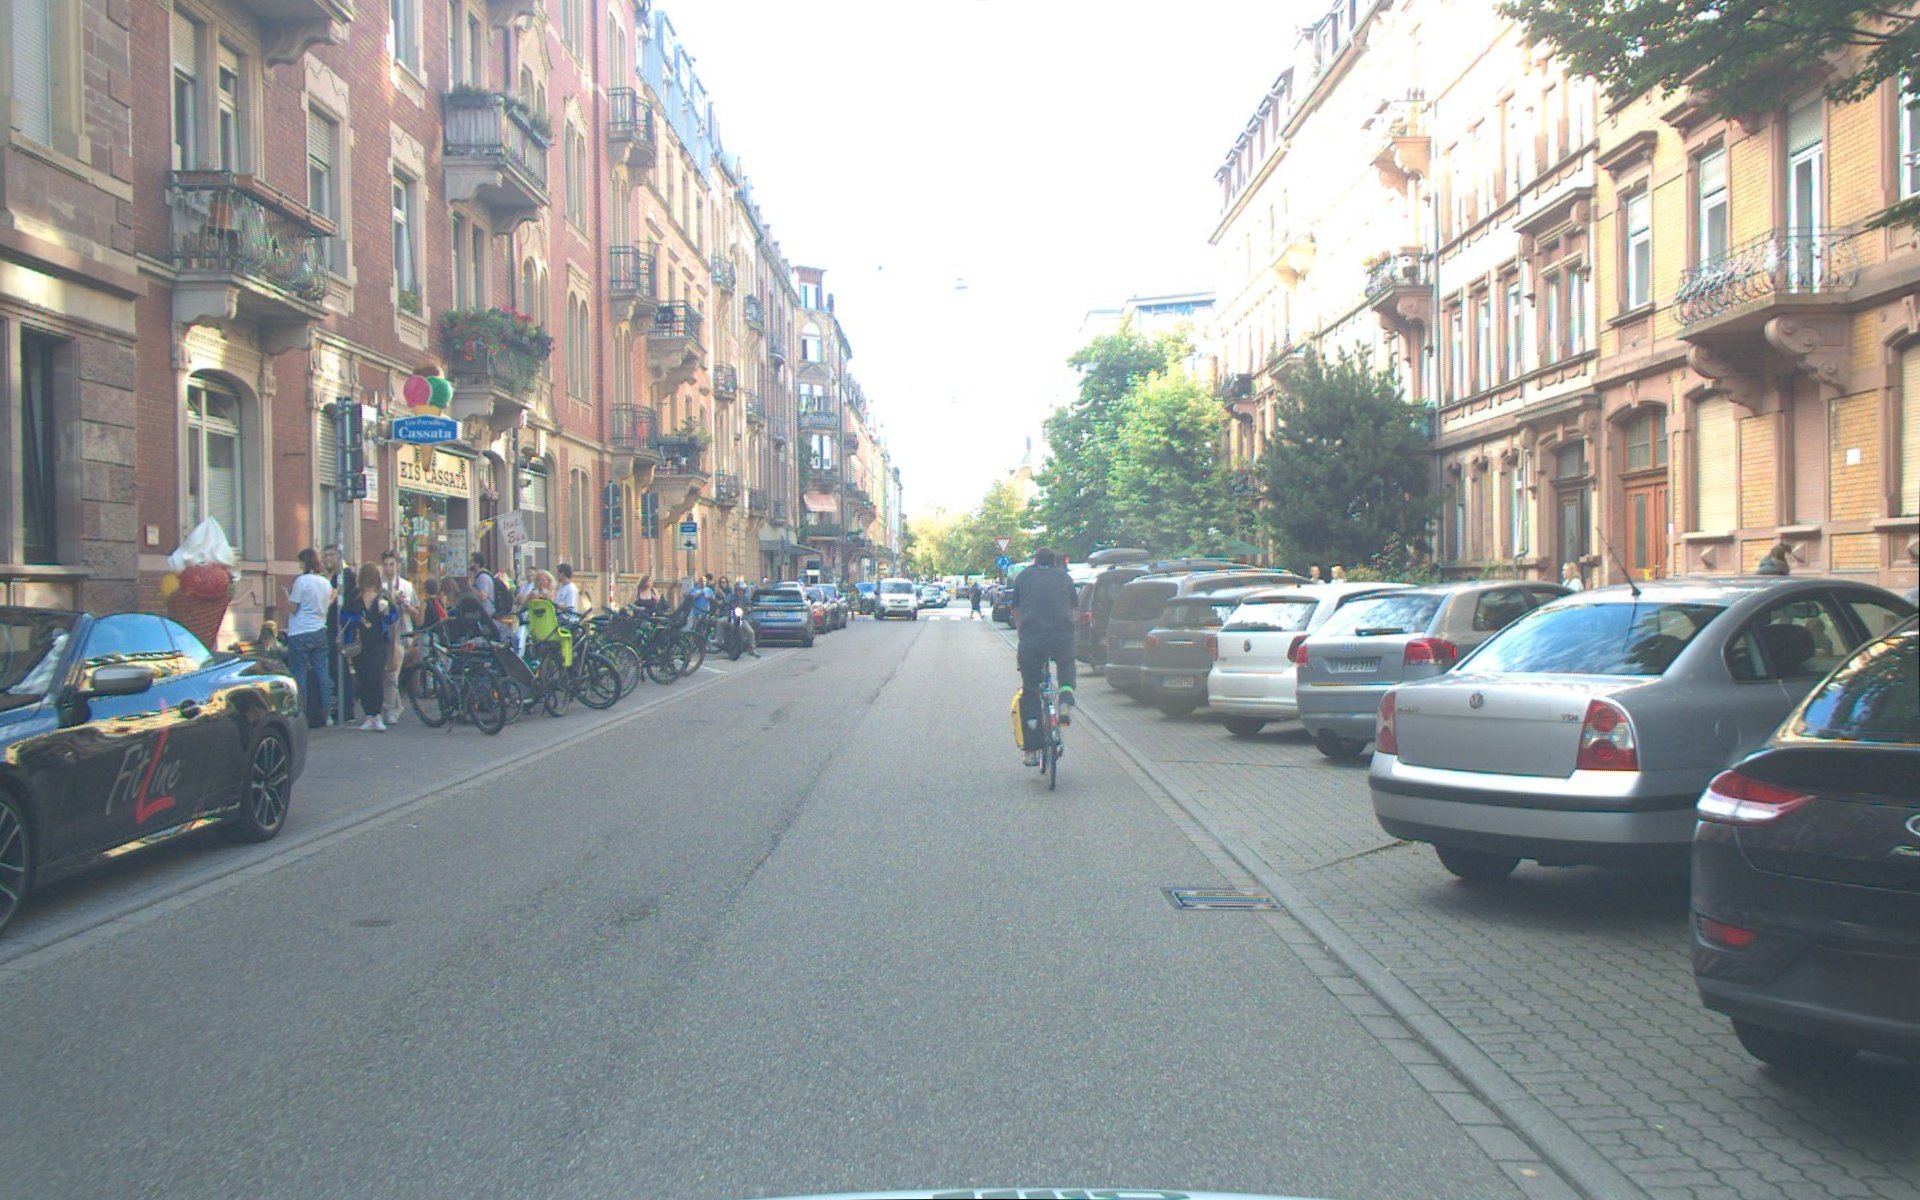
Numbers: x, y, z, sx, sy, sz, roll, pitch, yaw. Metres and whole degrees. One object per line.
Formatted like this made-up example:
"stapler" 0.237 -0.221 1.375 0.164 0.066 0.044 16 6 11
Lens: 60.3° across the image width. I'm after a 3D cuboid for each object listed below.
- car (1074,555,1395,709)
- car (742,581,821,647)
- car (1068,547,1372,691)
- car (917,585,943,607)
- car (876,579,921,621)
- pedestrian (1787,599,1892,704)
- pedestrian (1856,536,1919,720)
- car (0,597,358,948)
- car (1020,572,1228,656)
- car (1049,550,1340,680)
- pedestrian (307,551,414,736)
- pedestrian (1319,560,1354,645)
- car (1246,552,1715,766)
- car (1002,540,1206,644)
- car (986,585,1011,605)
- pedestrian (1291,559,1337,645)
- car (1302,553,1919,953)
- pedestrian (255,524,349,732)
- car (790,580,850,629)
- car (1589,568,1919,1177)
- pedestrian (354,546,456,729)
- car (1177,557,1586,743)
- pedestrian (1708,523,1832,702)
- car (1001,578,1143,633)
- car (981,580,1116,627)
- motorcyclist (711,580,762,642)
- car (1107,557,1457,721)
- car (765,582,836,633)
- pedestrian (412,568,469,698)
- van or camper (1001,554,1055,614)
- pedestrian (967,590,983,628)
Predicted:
"car" 3.660 0.367 21.904 3.948 1.771 1.820 -3 1 -32
"car" -4.549 0.319 42.790 1.789 1.606 5.260 0 0 -4
"car" 3.900 0.241 24.554 4.348 1.854 1.736 -3 0 -33
"car" -2.058 -0.241 111.428 1.714 1.461 4.210 0 0 -2
"car" -2.800 -0.034 75.775 1.878 1.860 4.438 0 0 0
"pedestrian" 8.555 0.493 16.106 0.543 0.978 0.795 -2 -1 -3
"pedestrian" 8.278 0.225 14.033 0.713 1.528 0.990 -2 1 -38
"car" -4.740 0.686 8.147 1.775 1.374 5.114 0 0 -1
"car" 3.648 0.259 36.557 4.407 1.762 1.975 -1 1 -36
"car" 3.885 0.208 27.905 4.543 1.815 1.810 -4 2 -2
"pedestrian" -5.969 0.412 16.473 0.746 1.790 0.664 1 0 30
"pedestrian" 7.534 0.047 33.116 0.561 1.688 0.632 0 0 0
"car" 4.550 0.438 14.267 3.957 1.486 1.863 -3 0 -37
"car" 3.724 -0.233 42.281 5.097 2.447 1.896 -2 0 -34
"car" 3.012 -0.378 129.782 1.952 1.512 4.000 -1 1 1
"pedestrian" 7.220 0.036 33.736 0.643 1.724 0.688 0 0 -44
"car" 4.066 0.561 8.532 4.554 1.477 1.773 -3 1 -33
"pedestrian" -6.659 0.271 16.742 0.630 2.049 0.629 0 0 28
"car" -5.006 0.159 59.652 1.754 1.657 4.847 -1 0 0
"car" 3.969 0.616 5.169 4.092 1.442 1.845 -2 2 -36
"pedestrian" -5.747 0.373 17.136 0.746 1.850 0.664 1 0 30
"car" 4.288 0.449 16.670 3.951 1.476 1.716 -4 0 -33
"pedestrian" 7.866 0.119 16.085 0.716 1.662 0.833 -2 -1 -3
"car" 3.661 0.149 53.713 4.418 1.489 1.856 -4 2 -35
"car" 3.334 0.115 62.133 4.701 1.482 2.037 -4 2 -29
"motorcyclist" -4.613 0.231 34.187 0.994 1.267 0.802 0 0 -6
"car" 3.817 0.393 19.328 3.960 1.575 1.844 -4 2 -38
"car" -5.174 0.234 54.179 1.953 1.572 4.426 -1 0 -1
"pedestrian" -6.645 0.413 21.169 0.542 1.644 0.584 0 0 0
"van or camper" 3.627 -0.844 88.471 2.480 3.090 4.457 -1 0 -2
"pedestrian" 0.714 0.412 77.828 0.615 1.769 0.776 -1 0 12
